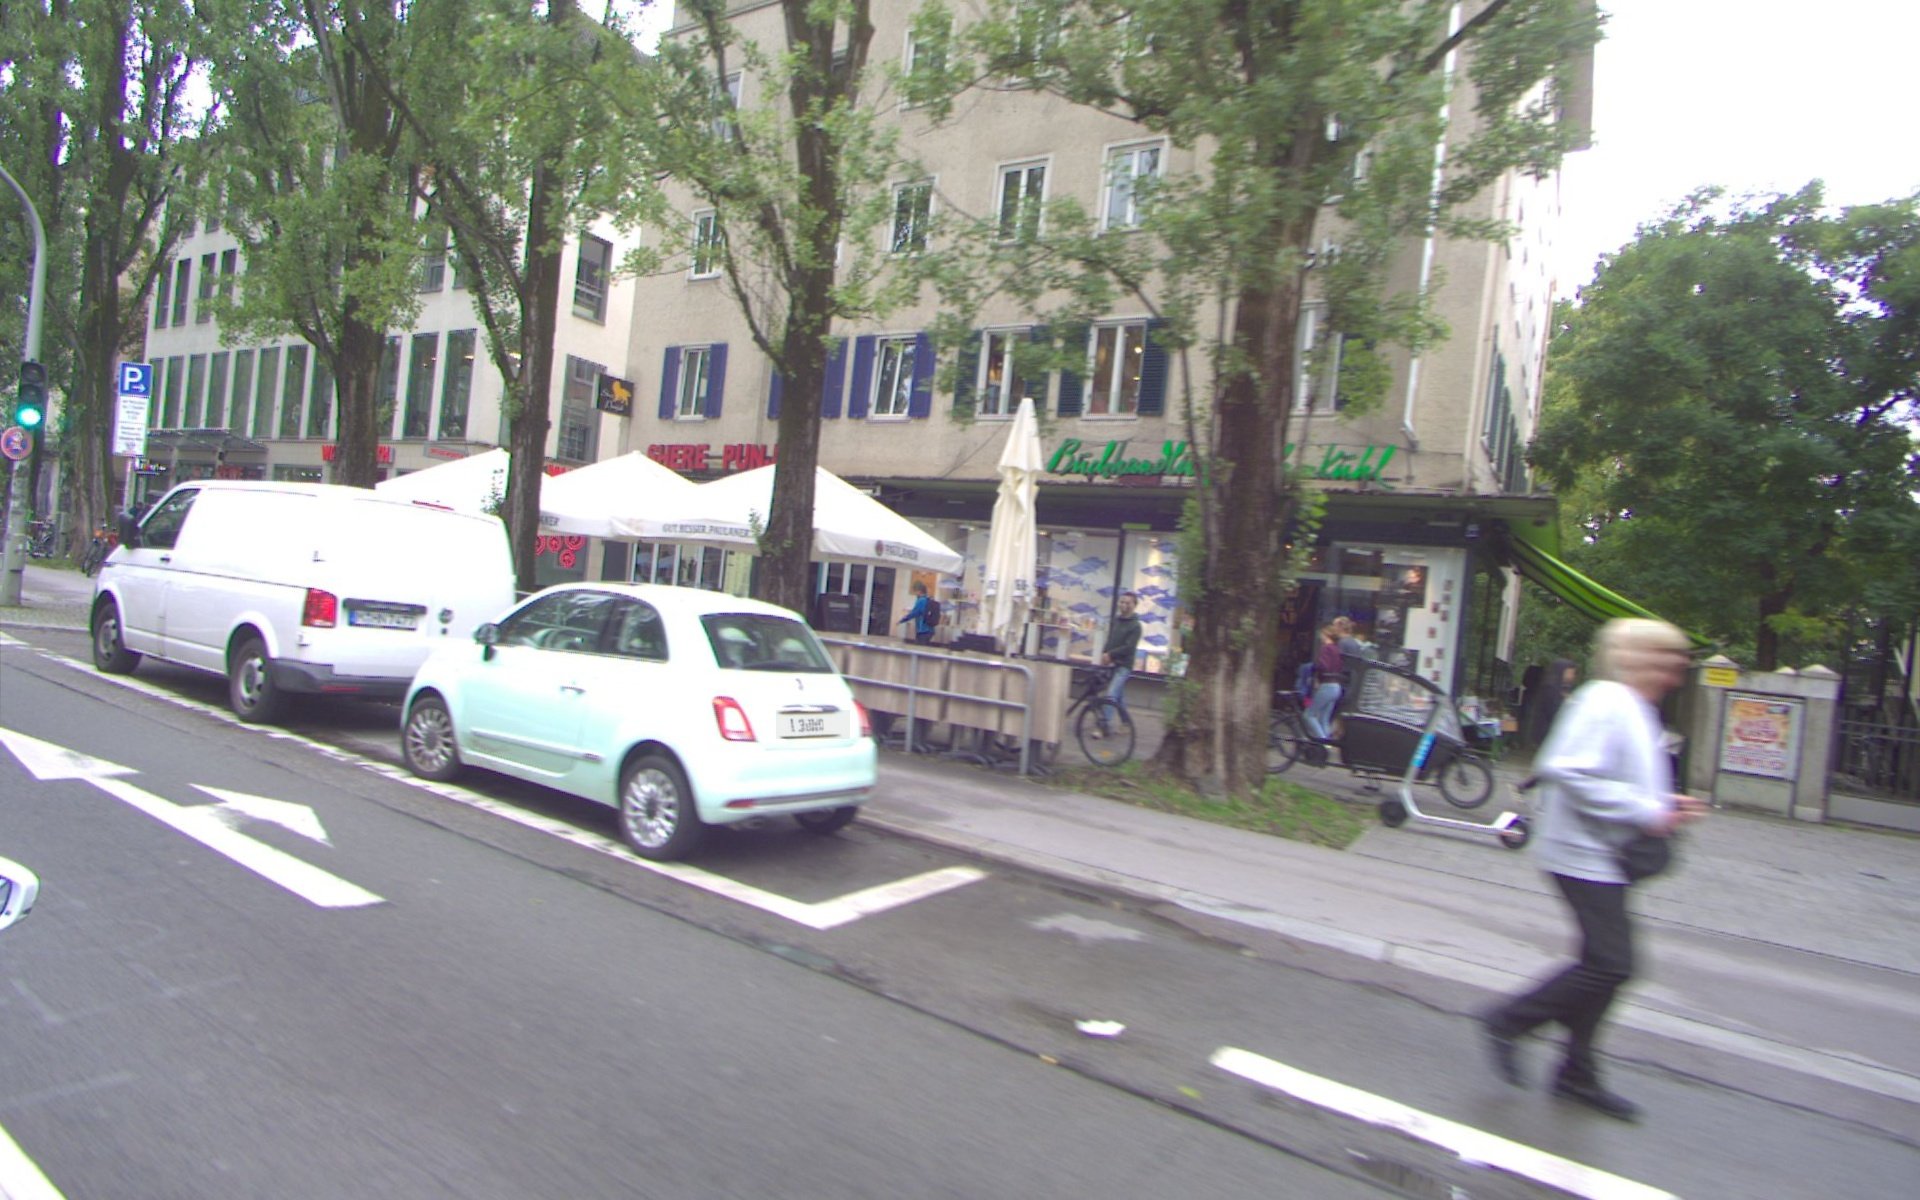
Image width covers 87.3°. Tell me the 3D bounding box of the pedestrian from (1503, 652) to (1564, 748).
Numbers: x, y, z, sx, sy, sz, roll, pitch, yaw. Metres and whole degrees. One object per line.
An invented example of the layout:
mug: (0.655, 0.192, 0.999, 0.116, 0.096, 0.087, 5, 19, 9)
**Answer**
pedestrian: (10.713, 1.851, 18.788, 0.788, 1.668, 0.828, 7, 1, 33)

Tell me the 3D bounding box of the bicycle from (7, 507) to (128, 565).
bicycle: (-23.325, -1.651, 26.348, 0.616, 1.219, 2.230, 7, 0, 30)

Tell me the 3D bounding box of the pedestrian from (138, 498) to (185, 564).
pedestrian: (-22.046, -1.901, 27.776, 0.745, 1.707, 0.674, 6, 1, 27)

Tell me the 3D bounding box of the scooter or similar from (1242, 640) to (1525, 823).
scooter or similar: (4.265, 1.266, 10.265, 2.451, 1.394, 0.637, 8, 3, 28)

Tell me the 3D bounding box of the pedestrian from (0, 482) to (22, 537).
pedestrian: (-34.613, -3.291, 36.267, 0.871, 1.848, 0.722, 6, -1, 22)

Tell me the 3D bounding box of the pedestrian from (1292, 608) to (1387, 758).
pedestrian: (4.990, 1.080, 13.216, 0.862, 1.818, 0.772, 7, 1, 32)

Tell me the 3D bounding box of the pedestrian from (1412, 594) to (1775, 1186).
pedestrian: (2.308, 0.941, 3.732, 0.856, 1.795, 0.828, 7, 1, 33)

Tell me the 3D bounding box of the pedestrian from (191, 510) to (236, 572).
pedestrian: (-21.740, -1.704, 29.295, 0.663, 1.707, 0.757, 6, 1, 30)

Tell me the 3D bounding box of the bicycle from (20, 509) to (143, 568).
bicycle: (-22.424, -1.552, 25.734, 0.616, 1.219, 2.230, 7, 0, 30)

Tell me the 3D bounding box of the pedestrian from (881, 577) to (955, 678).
pedestrian: (-0.753, 0.499, 17.979, 0.862, 1.698, 0.799, 7, 1, 30)

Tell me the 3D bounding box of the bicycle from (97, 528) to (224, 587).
bicycle: (-17.140, -0.890, 21.630, 0.616, 1.045, 1.998, 7, 0, 30)

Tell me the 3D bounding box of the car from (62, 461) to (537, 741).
car: (-6.302, -0.089, 9.430, 4.652, 1.970, 1.790, 7, 0, 32)

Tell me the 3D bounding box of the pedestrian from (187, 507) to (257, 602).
pedestrian: (-14.106, -0.862, 19.254, 0.747, 1.707, 0.748, 5, 1, -16)

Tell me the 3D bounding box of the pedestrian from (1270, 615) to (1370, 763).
pedestrian: (4.513, 1.095, 12.585, 0.862, 1.698, 0.798, 7, 1, 32)

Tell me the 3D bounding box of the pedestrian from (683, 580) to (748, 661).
pedestrian: (-4.362, 0.362, 17.941, 0.787, 1.340, 0.639, 7, 1, 31)

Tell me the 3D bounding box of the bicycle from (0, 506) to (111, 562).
bicycle: (-24.242, -1.756, 26.881, 0.616, 1.219, 2.230, 7, 0, 30)

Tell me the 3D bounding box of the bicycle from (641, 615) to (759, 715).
bicycle: (-3.102, 0.750, 11.956, 1.429, 1.009, 0.349, 6, 2, 28)

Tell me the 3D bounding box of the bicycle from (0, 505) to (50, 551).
bicycle: (-27.862, -2.148, 29.025, 0.616, 1.219, 2.230, 7, 0, 30)

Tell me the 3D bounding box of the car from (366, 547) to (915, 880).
car: (-2.228, 0.599, 6.769, 3.465, 1.510, 1.543, 6, -1, 33)

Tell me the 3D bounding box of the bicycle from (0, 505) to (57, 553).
bicycle: (-27.222, -2.083, 28.552, 0.616, 1.219, 2.230, 7, 0, 30)

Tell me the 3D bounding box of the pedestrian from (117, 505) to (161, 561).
pedestrian: (-29.499, -2.405, 36.141, 0.871, 1.848, 0.722, 6, -1, 22)

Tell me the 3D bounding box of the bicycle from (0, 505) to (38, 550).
bicycle: (-28.551, -2.218, 29.397, 0.616, 1.219, 2.230, 7, 0, 30)

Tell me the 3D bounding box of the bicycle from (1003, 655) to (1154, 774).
bicycle: (1.200, 1.151, 10.345, 1.429, 1.009, 0.349, 6, 2, 28)

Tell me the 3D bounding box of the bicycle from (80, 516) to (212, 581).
bicycle: (-18.700, -1.160, 23.168, 0.616, 1.219, 2.230, 7, 0, 30)

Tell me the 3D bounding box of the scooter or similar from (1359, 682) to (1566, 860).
scooter or similar: (4.195, 1.400, 8.466, 1.419, 1.232, 0.327, 6, 2, 28)

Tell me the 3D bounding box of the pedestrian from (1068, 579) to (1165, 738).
pedestrian: (2.003, 0.740, 12.831, 0.735, 1.888, 0.958, 7, 1, 30)

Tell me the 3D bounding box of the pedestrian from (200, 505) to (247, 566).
pedestrian: (-24.231, -2.119, 33.093, 0.871, 1.848, 0.722, 6, -1, 22)

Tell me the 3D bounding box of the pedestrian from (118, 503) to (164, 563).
pedestrian: (-27.724, -2.265, 34.063, 0.871, 1.848, 0.722, 6, -1, 22)

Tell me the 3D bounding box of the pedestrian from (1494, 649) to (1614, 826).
pedestrian: (6.012, 1.356, 10.231, 0.855, 1.627, 0.617, 7, 3, 29)

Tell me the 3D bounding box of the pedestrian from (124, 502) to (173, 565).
pedestrian: (-25.966, -2.117, 32.192, 0.871, 1.848, 0.722, 6, -1, 22)

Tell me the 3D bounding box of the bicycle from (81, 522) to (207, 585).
bicycle: (-17.894, -0.996, 22.101, 0.616, 1.147, 1.998, 7, 0, 30)
